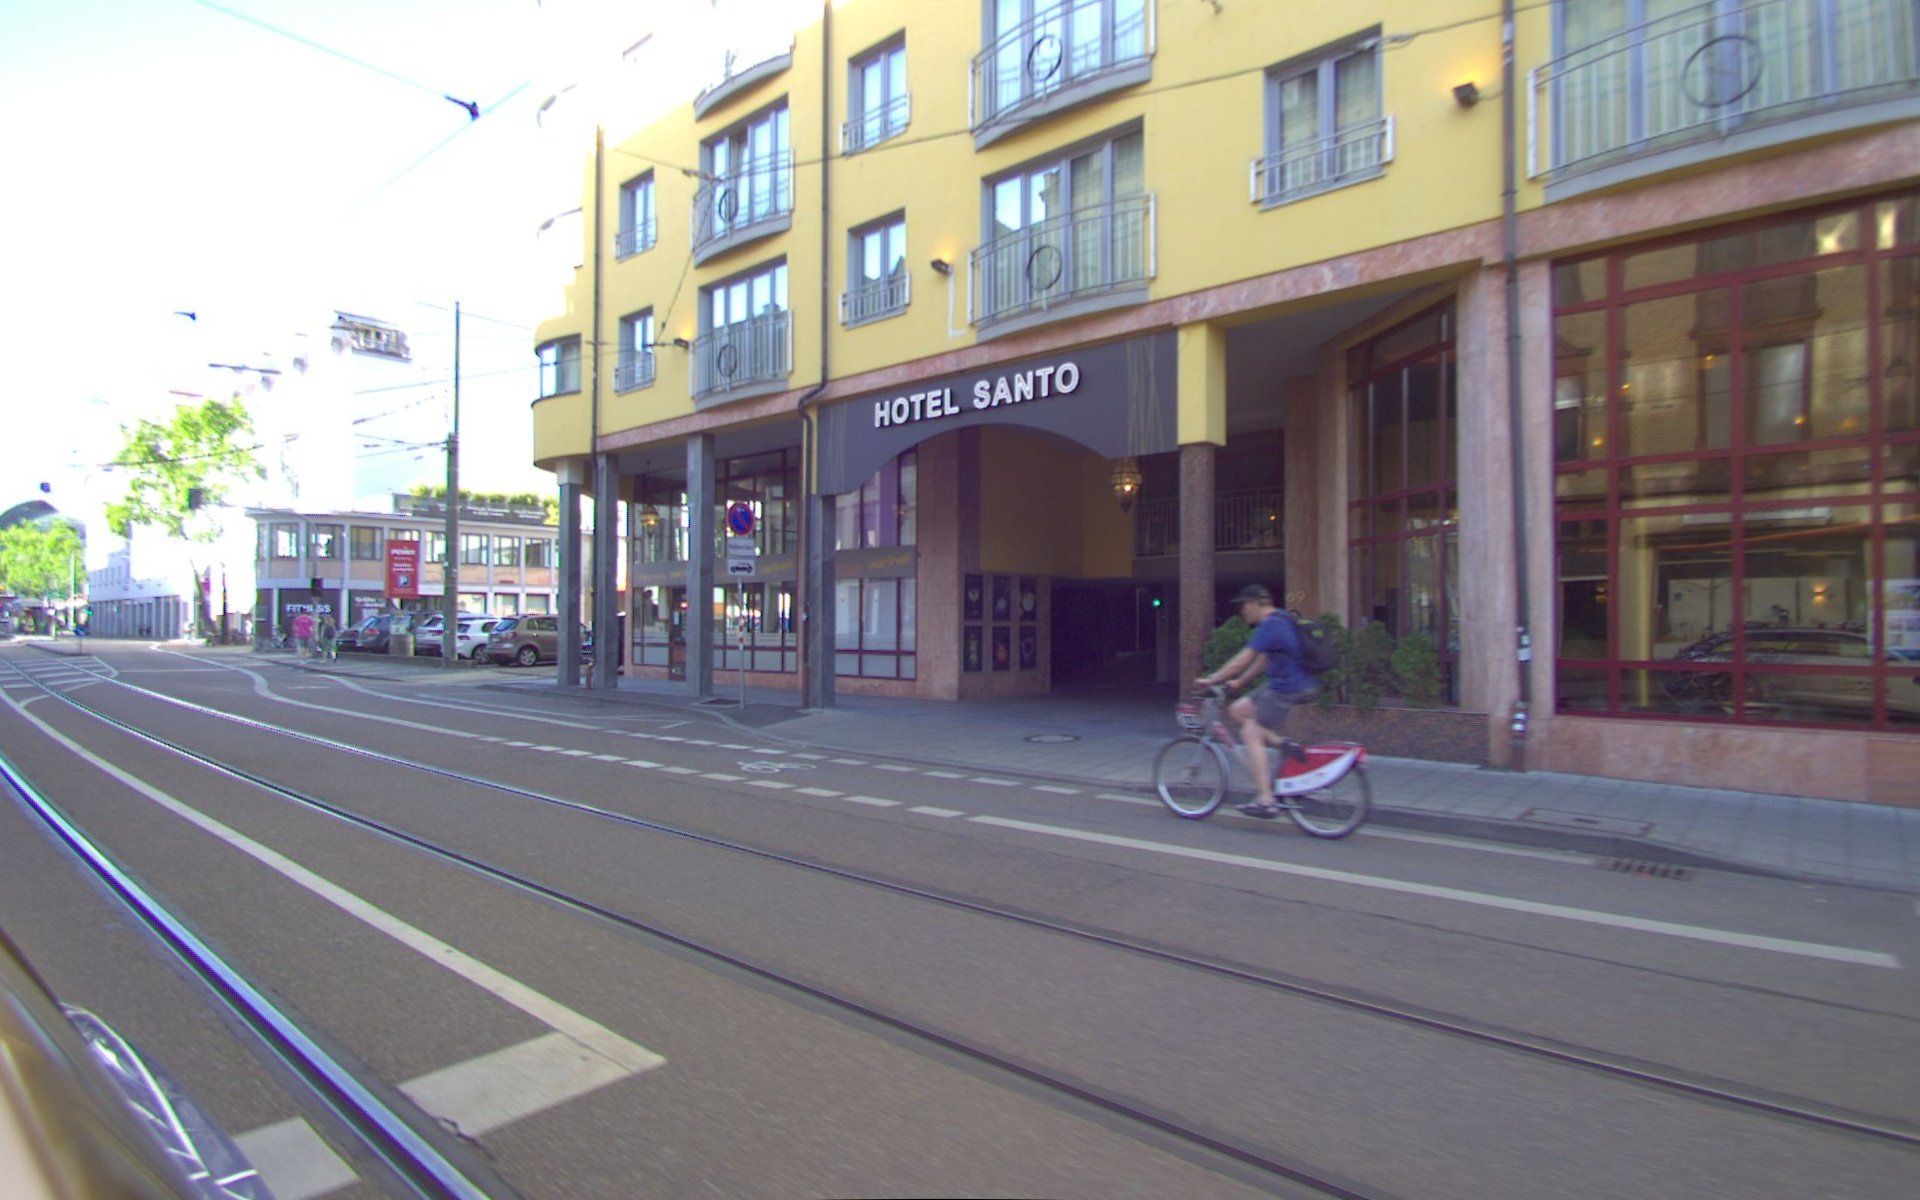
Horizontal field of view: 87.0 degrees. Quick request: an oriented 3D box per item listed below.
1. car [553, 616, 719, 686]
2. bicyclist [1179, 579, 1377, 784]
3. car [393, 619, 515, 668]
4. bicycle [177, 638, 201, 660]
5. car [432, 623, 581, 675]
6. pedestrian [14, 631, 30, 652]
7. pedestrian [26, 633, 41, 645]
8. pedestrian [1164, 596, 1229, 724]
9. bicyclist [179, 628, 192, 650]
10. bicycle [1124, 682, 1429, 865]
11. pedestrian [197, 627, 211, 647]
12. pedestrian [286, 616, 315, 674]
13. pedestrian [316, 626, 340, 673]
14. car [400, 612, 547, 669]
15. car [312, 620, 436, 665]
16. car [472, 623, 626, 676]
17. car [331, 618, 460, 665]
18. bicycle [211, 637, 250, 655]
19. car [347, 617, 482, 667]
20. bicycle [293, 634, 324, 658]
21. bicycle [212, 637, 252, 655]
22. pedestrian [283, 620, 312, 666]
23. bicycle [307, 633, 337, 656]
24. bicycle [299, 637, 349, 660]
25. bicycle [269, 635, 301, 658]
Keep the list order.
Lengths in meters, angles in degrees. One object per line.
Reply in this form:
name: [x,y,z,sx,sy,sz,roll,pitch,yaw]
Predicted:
car: [-9.114,1.399,28.725,1.784,1.826,4.188,-2,-2,41]
bicyclist: [2.360,0.572,7.555,1.227,1.391,0.717,-2,-3,40]
car: [-18.668,1.594,37.440,1.784,1.685,3.650,-2,-3,41]
bicycle: [-52.282,3.305,68.640,0.556,1.130,2.011,-11,9,-19]
car: [-15.119,1.592,33.907,1.784,1.622,4.188,-2,-2,41]
pedestrian: [-72.478,3.212,78.204,0.747,1.657,0.784,-2,-2,42]
pedestrian: [-74.851,3.151,81.767,0.747,0.996,0.784,-2,-2,42]
pedestrian: [3.412,0.852,14.622,0.554,1.783,0.723,2,-2,-44]
bicyclist: [-52.425,2.665,68.503,0.554,1.371,0.721,3,5,-25]
bicycle: [2.310,1.213,7.572,2.060,1.096,0.723,-1,-2,40]
pedestrian: [-63.051,3.106,84.389,0.731,1.657,0.737,-2,-2,42]
pedestrian: [-22.748,1.541,34.913,0.708,1.961,0.631,-2,-2,40]
pedestrian: [-22.180,1.713,35.522,0.499,1.629,0.566,-2,-2,40]
car: [-16.897,1.411,35.284,1.784,1.825,4.189,1,-2,41]
car: [-24.589,1.749,42.575,1.784,1.777,4.189,-2,-2,41]
car: [-13.010,1.515,32.216,1.784,1.560,4.189,0,-1,41]
car: [-22.697,1.648,40.836,1.784,1.826,4.189,-2,-2,41]
bicycle: [-43.879,2.745,60.871,1.850,1.085,0.465,2,-3,-40]
car: [-20.914,1.589,38.922,1.785,1.826,4.188,-2,-2,42]
bicycle: [-30.057,2.138,46.691,1.874,1.088,0.459,-2,-3,34]
bicycle: [-43.374,2.722,60.293,1.850,1.085,0.465,2,-3,-40]
pedestrian: [-25.988,1.680,39.703,0.778,1.777,0.707,-1,-2,34]
bicycle: [-29.694,2.072,47.072,1.874,1.044,0.459,-2,-3,34]
bicycle: [-28.783,2.201,45.832,1.847,1.044,0.427,1,-3,-24]
bicycle: [-31.031,2.141,46.532,1.874,1.044,0.519,-2,-3,34]
